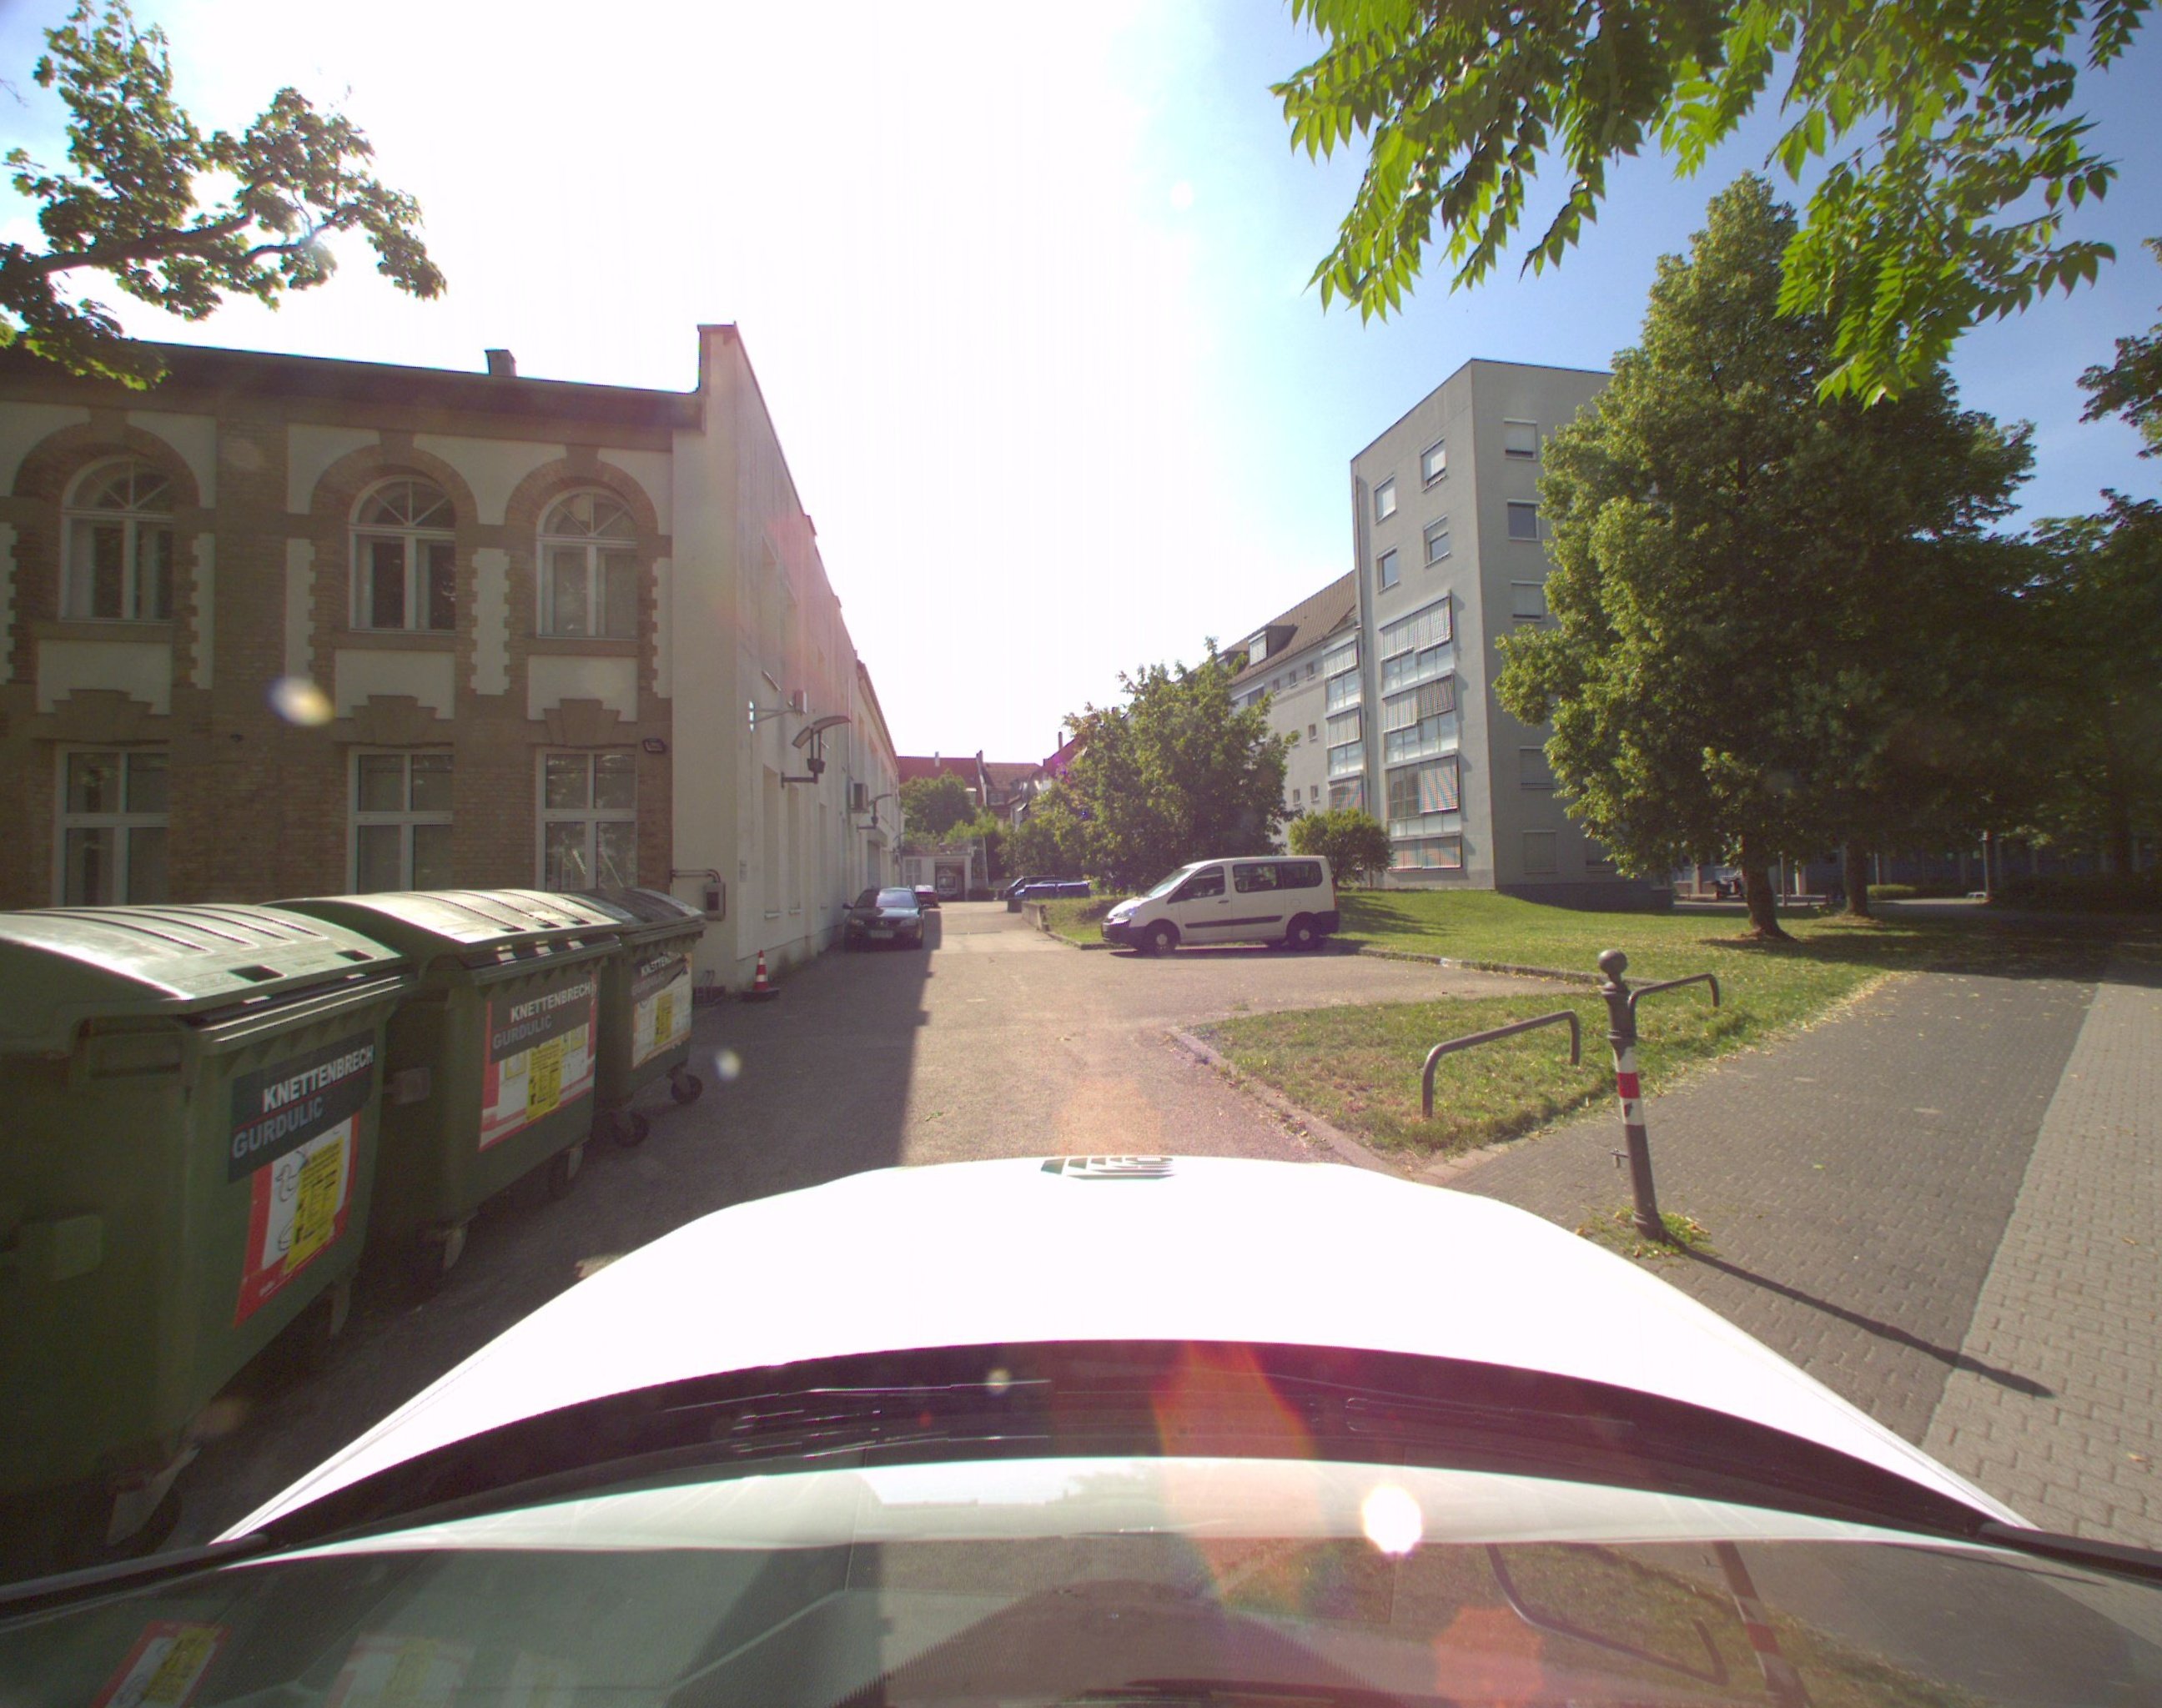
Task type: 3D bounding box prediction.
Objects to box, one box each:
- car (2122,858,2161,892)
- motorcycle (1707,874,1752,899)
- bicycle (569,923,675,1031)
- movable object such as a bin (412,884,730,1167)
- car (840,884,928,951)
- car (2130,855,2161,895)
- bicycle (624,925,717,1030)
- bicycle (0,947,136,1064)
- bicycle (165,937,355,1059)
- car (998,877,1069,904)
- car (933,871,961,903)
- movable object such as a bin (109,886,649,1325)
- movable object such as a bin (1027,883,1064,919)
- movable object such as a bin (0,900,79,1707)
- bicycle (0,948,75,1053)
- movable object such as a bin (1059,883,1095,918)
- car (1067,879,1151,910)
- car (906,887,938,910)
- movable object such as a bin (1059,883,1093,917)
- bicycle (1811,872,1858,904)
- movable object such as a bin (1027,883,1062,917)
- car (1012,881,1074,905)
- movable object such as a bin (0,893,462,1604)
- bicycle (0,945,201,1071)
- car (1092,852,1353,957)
[{"bbox_3d":[56.051,1.045,41.792,3.995,1.596,1.852,-2,-1,-16],"label":"car"},{"bbox_3d":[34.667,1.741,43.515,2.055,1.246,0.628,-1,-2,-9],"label":"motorcycle"},{"bbox_3d":[-5.188,1.347,9.303,0.444,0.992,1.626,-2,-1,-7],"label":"bicycle"},{"bbox_3d":[-3.013,0.921,5.046,1.245,1.431,1.345,-1,-2,-11],"label":"movable object such as a bin"},{"bbox_3d":[-4.736,1.537,20.088,1.837,1.442,4.412,0,-4,-10],"label":"car"},{"bbox_3d":[46.727,0.825,33.183,1.992,1.640,4.425,-2,-1,-8],"label":"car"},{"bbox_3d":[-4.718,1.378,9.447,0.444,0.992,1.537,-2,-1,-7],"label":"bicycle"},{"bbox_3d":[-10.514,1.512,8.151,0.444,0.992,1.537,-2,-1,-7],"label":"bicycle"},{"bbox_3d":[-8.475,1.440,8.503,0.444,0.992,1.662,-2,-1,-7],"label":"bicycle"},{"bbox_3d":[-3.661,2.780,62.782,4.973,1.768,2.080,-2,-1,-23],"label":"car"},{"bbox_3d":[-11.675,2.894,70.992,2.174,2.607,6.710,-2,-2,-10],"label":"car"},{"bbox_3d":[-2.800,0.876,3.555,1.245,1.431,1.361,-1,-2,-11],"label":"movable object such as a bin"},{"bbox_3d":[-1.405,1.841,32.044,1.247,1.319,1.139,-3,-3,-9],"label":"movable object such as a bin"},{"bbox_3d":[-2.416,0.821,0.793,1.247,1.481,1.331,-1,-2,-16],"label":"movable object such as a bin"},{"bbox_3d":[-11.057,1.508,8.047,0.444,0.992,1.537,-2,-1,-7],"label":"bicycle"},{"bbox_3d":[-0.166,1.832,32.472,1.246,1.340,1.139,-2,-2,-8],"label":"movable object such as a bin"},{"bbox_3d":[1.419,2.070,42.224,3.991,1.427,1.803,-2,-2,-13],"label":"car"},{"bbox_3d":[-9.969,2.768,51.206,1.852,1.320,3.984,0,-2,-11],"label":"car"},{"bbox_3d":[-0.227,1.926,34.228,1.156,1.336,1.137,-2,-2,-13],"label":"movable object such as a bin"},{"bbox_3d":[25.608,1.140,27.665,1.446,1.049,0.393,-1,-2,-13],"label":"bicycle"},{"bbox_3d":[-1.530,1.916,33.949,1.249,1.355,1.123,-2,-2,-13],"label":"movable object such as a bin"},{"bbox_3d":[-2.822,2.823,59.638,4.235,1.532,1.990,-2,-1,-14],"label":"car"},{"bbox_3d":[-2.630,0.844,2.180,1.249,1.431,1.214,-1,-2,-21],"label":"movable object such as a bin"},{"bbox_3d":[-9.924,1.507,8.264,0.444,0.992,1.537,-2,-1,-7],"label":"bicycle"},{"bbox_3d":[2.879,1.012,17.142,5.023,1.933,1.993,-1,-2,-9],"label":"car"}]
